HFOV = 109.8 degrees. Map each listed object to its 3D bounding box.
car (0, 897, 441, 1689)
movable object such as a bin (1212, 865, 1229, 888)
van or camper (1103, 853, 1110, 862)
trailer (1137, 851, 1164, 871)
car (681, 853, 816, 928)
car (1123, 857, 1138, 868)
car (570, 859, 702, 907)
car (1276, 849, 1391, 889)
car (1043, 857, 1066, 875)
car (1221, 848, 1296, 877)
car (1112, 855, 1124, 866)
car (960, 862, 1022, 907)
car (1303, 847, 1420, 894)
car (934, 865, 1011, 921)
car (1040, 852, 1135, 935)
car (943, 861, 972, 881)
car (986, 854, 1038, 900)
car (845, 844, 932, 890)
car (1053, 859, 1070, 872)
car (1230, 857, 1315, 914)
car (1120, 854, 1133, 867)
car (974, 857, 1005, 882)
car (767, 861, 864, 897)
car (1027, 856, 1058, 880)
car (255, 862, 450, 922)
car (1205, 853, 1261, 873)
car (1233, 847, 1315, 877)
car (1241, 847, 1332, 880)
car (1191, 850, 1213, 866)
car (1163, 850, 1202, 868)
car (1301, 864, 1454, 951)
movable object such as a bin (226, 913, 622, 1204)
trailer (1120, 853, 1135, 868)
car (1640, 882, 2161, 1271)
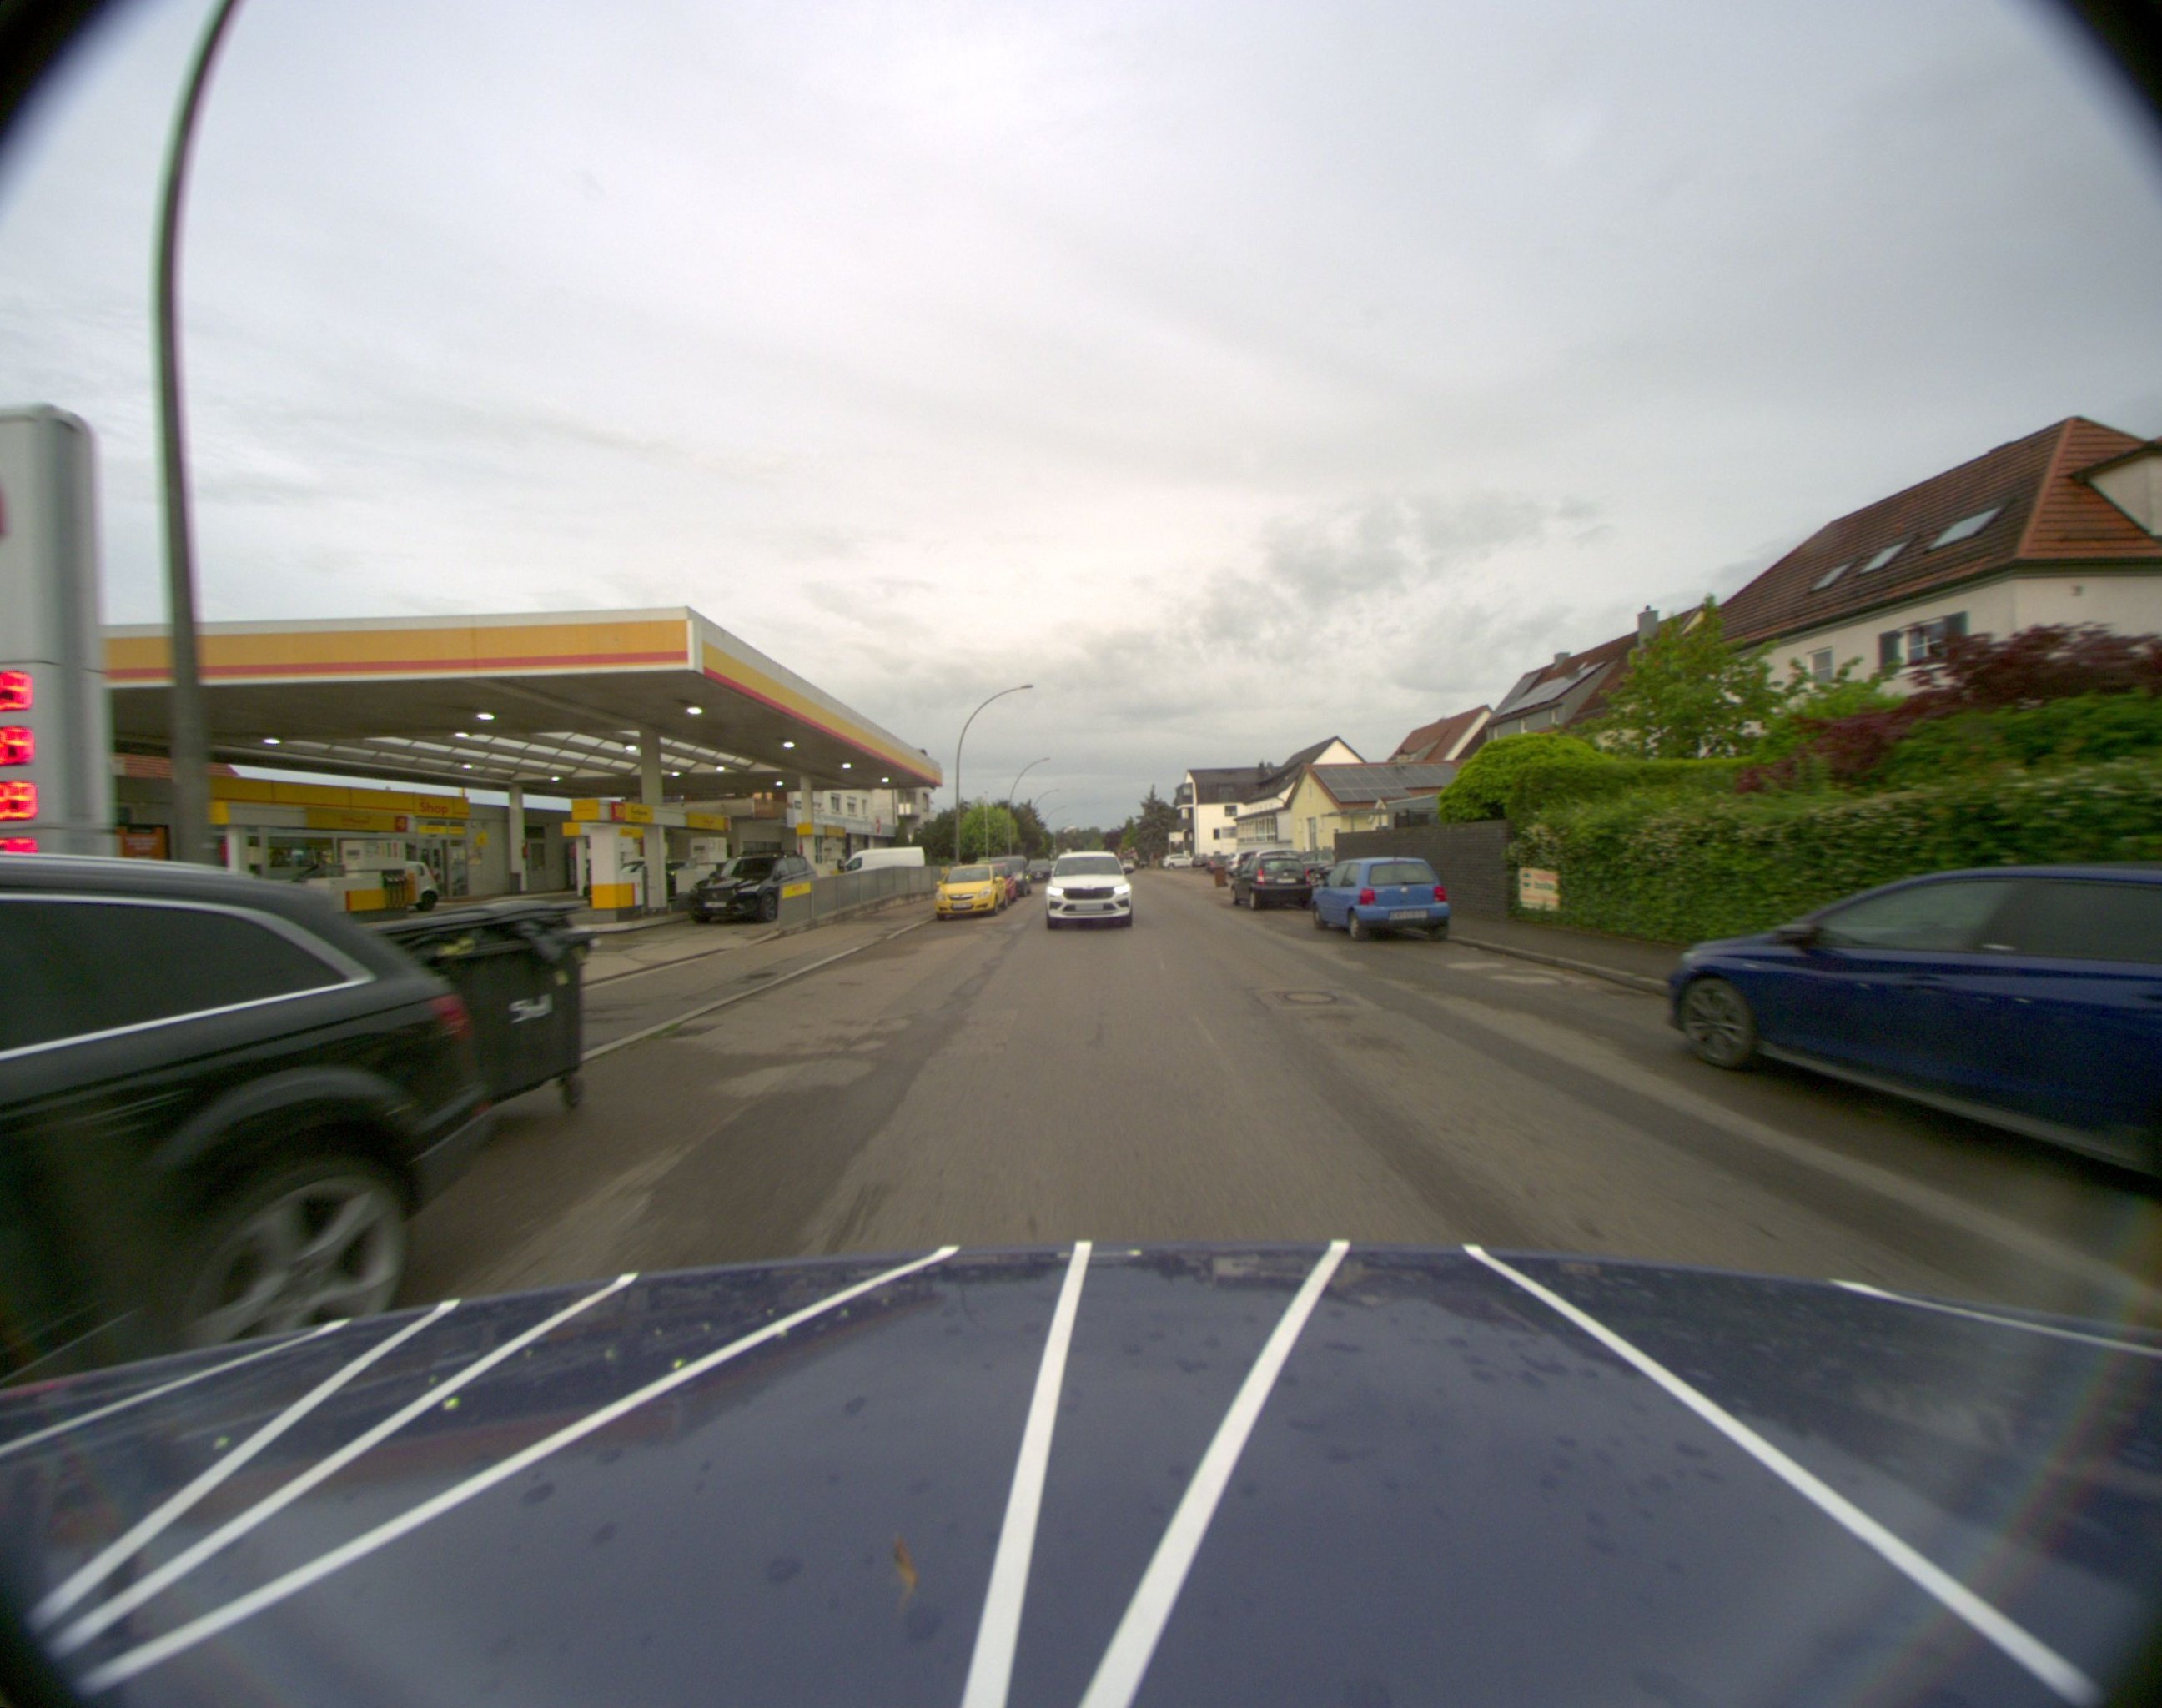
[{"bbox_3d":[-3.413,1.006,0.463,2.096,1.652,4.559,-3,-1,0],"label":"car"},{"bbox_3d":[6.862,1.124,37.287,0.597,1.051,0.687,-7,-1,1],"label":"movable object such as a bin"},{"bbox_3d":[6.323,0.893,188.883,1.811,2.328,4.000,-2,0,2],"label":"van or camper"},{"bbox_3d":[11.243,1.136,123.168,4.059,3.028,2.168,-3,0,2],"label":"trailer"},{"bbox_3d":[-8.410,0.855,19.623,1.824,1.749,3.999,0,0,-2],"label":"car"},{"bbox_3d":[6.547,1.131,101.244,1.740,1.496,3.871,-2,0,1],"label":"car"},{"bbox_3d":[-15.166,0.922,26.253,1.744,1.457,4.673,-2,0,0],"label":"car"},{"bbox_3d":[10.276,0.605,31.101,4.095,1.405,1.714,-3,0,-2],"label":"car"},{"bbox_3d":[-2.452,1.123,70.814,1.741,1.493,3.882,-4,0,2],"label":"car"},{"bbox_3d":[11.101,0.560,47.659,4.096,1.522,2.001,-3,-4,-5],"label":"car"},{"bbox_3d":[7.707,1.298,157.434,2.264,2.275,4.531,0,0,0],"label":"car"},{"bbox_3d":[-3.127,1.025,27.070,1.660,1.368,4.024,-2,0,0],"label":"car"},{"bbox_3d":[10.298,0.603,28.063,3.595,1.448,1.756,-4,0,-4],"label":"car"},{"bbox_3d":[-3.094,1.080,22.350,1.660,1.393,3.801,-2,0,0],"label":"car"},{"bbox_3d":[0.166,0.829,17.899,1.884,1.650,4.831,-2,0,1],"label":"car"},{"bbox_3d":[-9.435,1.287,58.251,1.752,1.510,3.731,1,0,-3],"label":"car"},{"bbox_3d":[-2.915,0.923,32.961,1.660,1.728,4.444,-4,0,0],"label":"car"},{"bbox_3d":[-11.635,0.771,45.901,4.809,2.506,2.244,-2,0,-21],"label":"car"},{"bbox_3d":[-2.258,1.312,89.434,1.756,1.410,4.110,-2,0,1],"label":"car"},{"bbox_3d":[5.508,0.867,22.288,1.612,1.497,3.707,-1,0,1],"label":"car"},{"bbox_3d":[7.487,1.073,125.890,1.998,2.112,4.755,-2,0,2],"label":"car"},{"bbox_3d":[-6.749,1.119,56.473,1.999,1.673,3.999,-2,0,-4],"label":"car"},{"bbox_3d":[-13.930,1.293,40.028,1.995,1.631,4.370,-2,0,44],"label":"car"},{"bbox_3d":[-2.715,0.988,53.935,1.999,1.586,4.000,-2,0,0],"label":"car"},{"bbox_3d":[-20.119,0.989,21.240,1.744,1.457,3.780,-2,0,0],"label":"car"},{"bbox_3d":[11.553,0.698,58.039,3.883,1.430,1.768,-2,0,0],"label":"car"},{"bbox_3d":[10.926,0.464,43.135,4.096,1.494,1.756,-2,0,-5],"label":"car"},{"bbox_3d":[10.610,0.479,39.402,4.095,1.505,1.883,-2,0,-3],"label":"car"},{"bbox_3d":[13.099,0.429,82.357,1.824,1.521,4.001,-7,0,3],"label":"car"},{"bbox_3d":[11.649,0.601,87.448,3.997,1.637,2.000,-6,0,-1],"label":"car"},{"bbox_3d":[5.464,0.918,14.463,1.549,1.395,3.597,-1,0,1],"label":"car"},{"bbox_3d":[-3.911,1.136,4.754,1.129,1.380,1.503,-2,0,-1],"label":"movable object such as a bin"},{"bbox_3d":[6.574,0.893,107.889,1.721,2.114,4.007,-3,0,1],"label":"trailer"},{"bbox_3d":[5.142,0.924,3.815,1.811,1.395,3.944,-1,0,1],"label":"car"}]
